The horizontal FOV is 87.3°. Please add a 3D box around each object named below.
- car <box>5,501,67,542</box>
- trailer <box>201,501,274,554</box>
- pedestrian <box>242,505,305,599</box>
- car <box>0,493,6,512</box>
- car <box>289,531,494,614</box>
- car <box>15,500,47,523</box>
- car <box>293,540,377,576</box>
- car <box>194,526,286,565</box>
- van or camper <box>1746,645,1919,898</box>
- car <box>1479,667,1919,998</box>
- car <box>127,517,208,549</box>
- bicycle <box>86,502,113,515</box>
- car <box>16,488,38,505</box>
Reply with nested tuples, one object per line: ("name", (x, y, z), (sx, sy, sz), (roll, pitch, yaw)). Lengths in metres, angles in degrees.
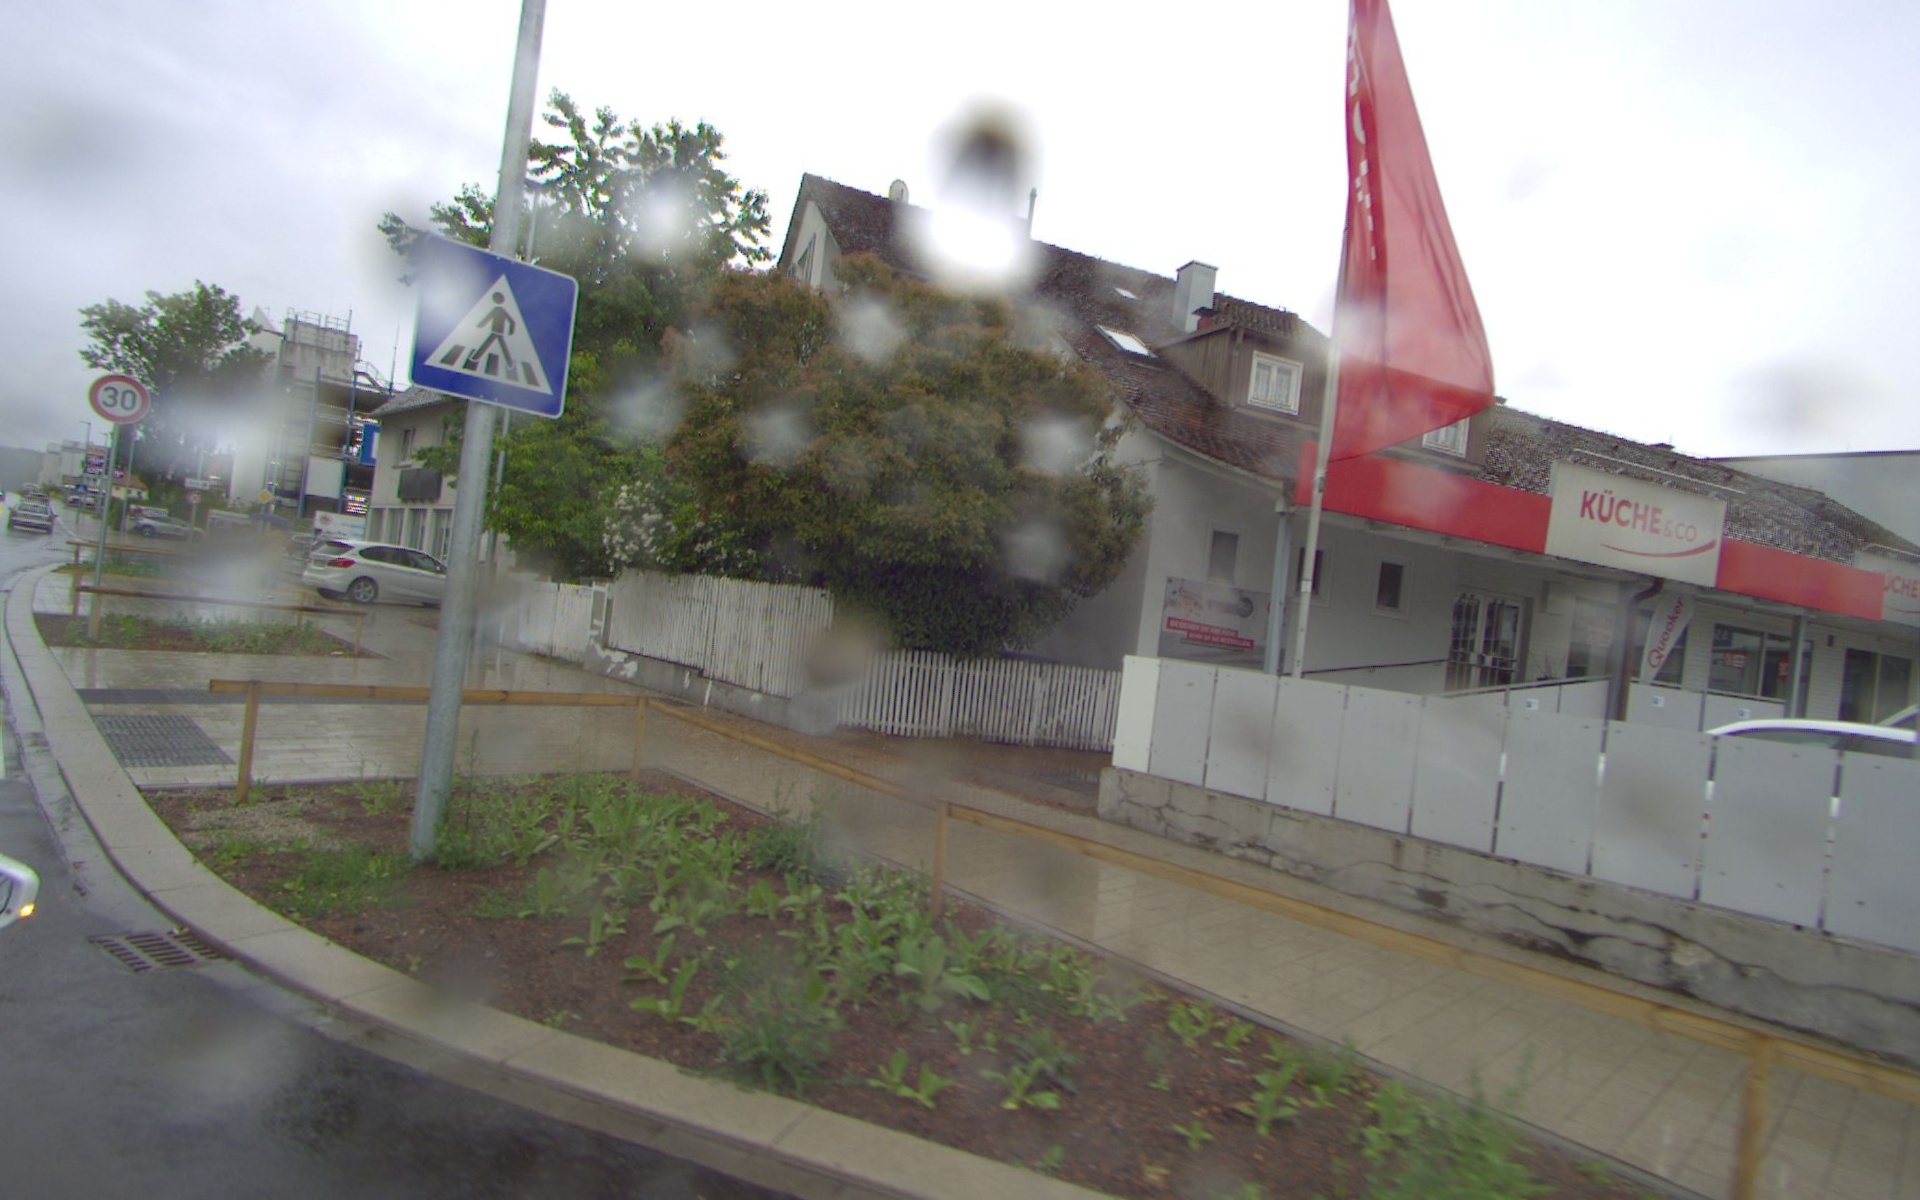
("car", (-47.319, -4.004, 51.492), (3.949, 1.570, 1.948), (4, -7, 44))
("trailer", (-36.893, -3.703, 51.406), (2.694, 2.196, 1.530), (9, -2, -42))
("pedestrian", (-15.834, -1.108, 23.207), (0.856, 2.039, 1.180), (5, 1, -45))
("car", (-96.505, -9.845, 100.152), (1.999, 1.839, 4.917), (9, -2, -44))
("car", (-14.734, -0.663, 26.280), (1.967, 1.600, 4.133), (7, 0, 33))
("car", (-93.719, -8.931, 101.474), (2.152, 1.722, 3.952), (14, -7, -43))
("car", (-36.223, -2.399, 58.312), (1.708, 1.465, 3.721), (6, -2, 43))
("car", (-38.377, -2.902, 53.669), (3.715, 1.547, 1.630), (8, -2, -44))
("van or camper", (11.644, 2.059, 10.171), (2.103, 2.570, 5.233), (8, -1, -24))
("car", (6.318, 1.656, 7.164), (1.833, 1.711, 4.127), (9, -1, -37))
("car", (-55.148, -4.638, 70.109), (4.180, 1.670, 1.982), (7, -1, -34))
("bicycle", (-112.416, -11.962, 131.380), (3.560, 1.077, 0.673), (8, -5, 15))
("car", (-132.389, -14.664, 142.739), (1.992, 1.722, 3.952), (14, -7, -43))
